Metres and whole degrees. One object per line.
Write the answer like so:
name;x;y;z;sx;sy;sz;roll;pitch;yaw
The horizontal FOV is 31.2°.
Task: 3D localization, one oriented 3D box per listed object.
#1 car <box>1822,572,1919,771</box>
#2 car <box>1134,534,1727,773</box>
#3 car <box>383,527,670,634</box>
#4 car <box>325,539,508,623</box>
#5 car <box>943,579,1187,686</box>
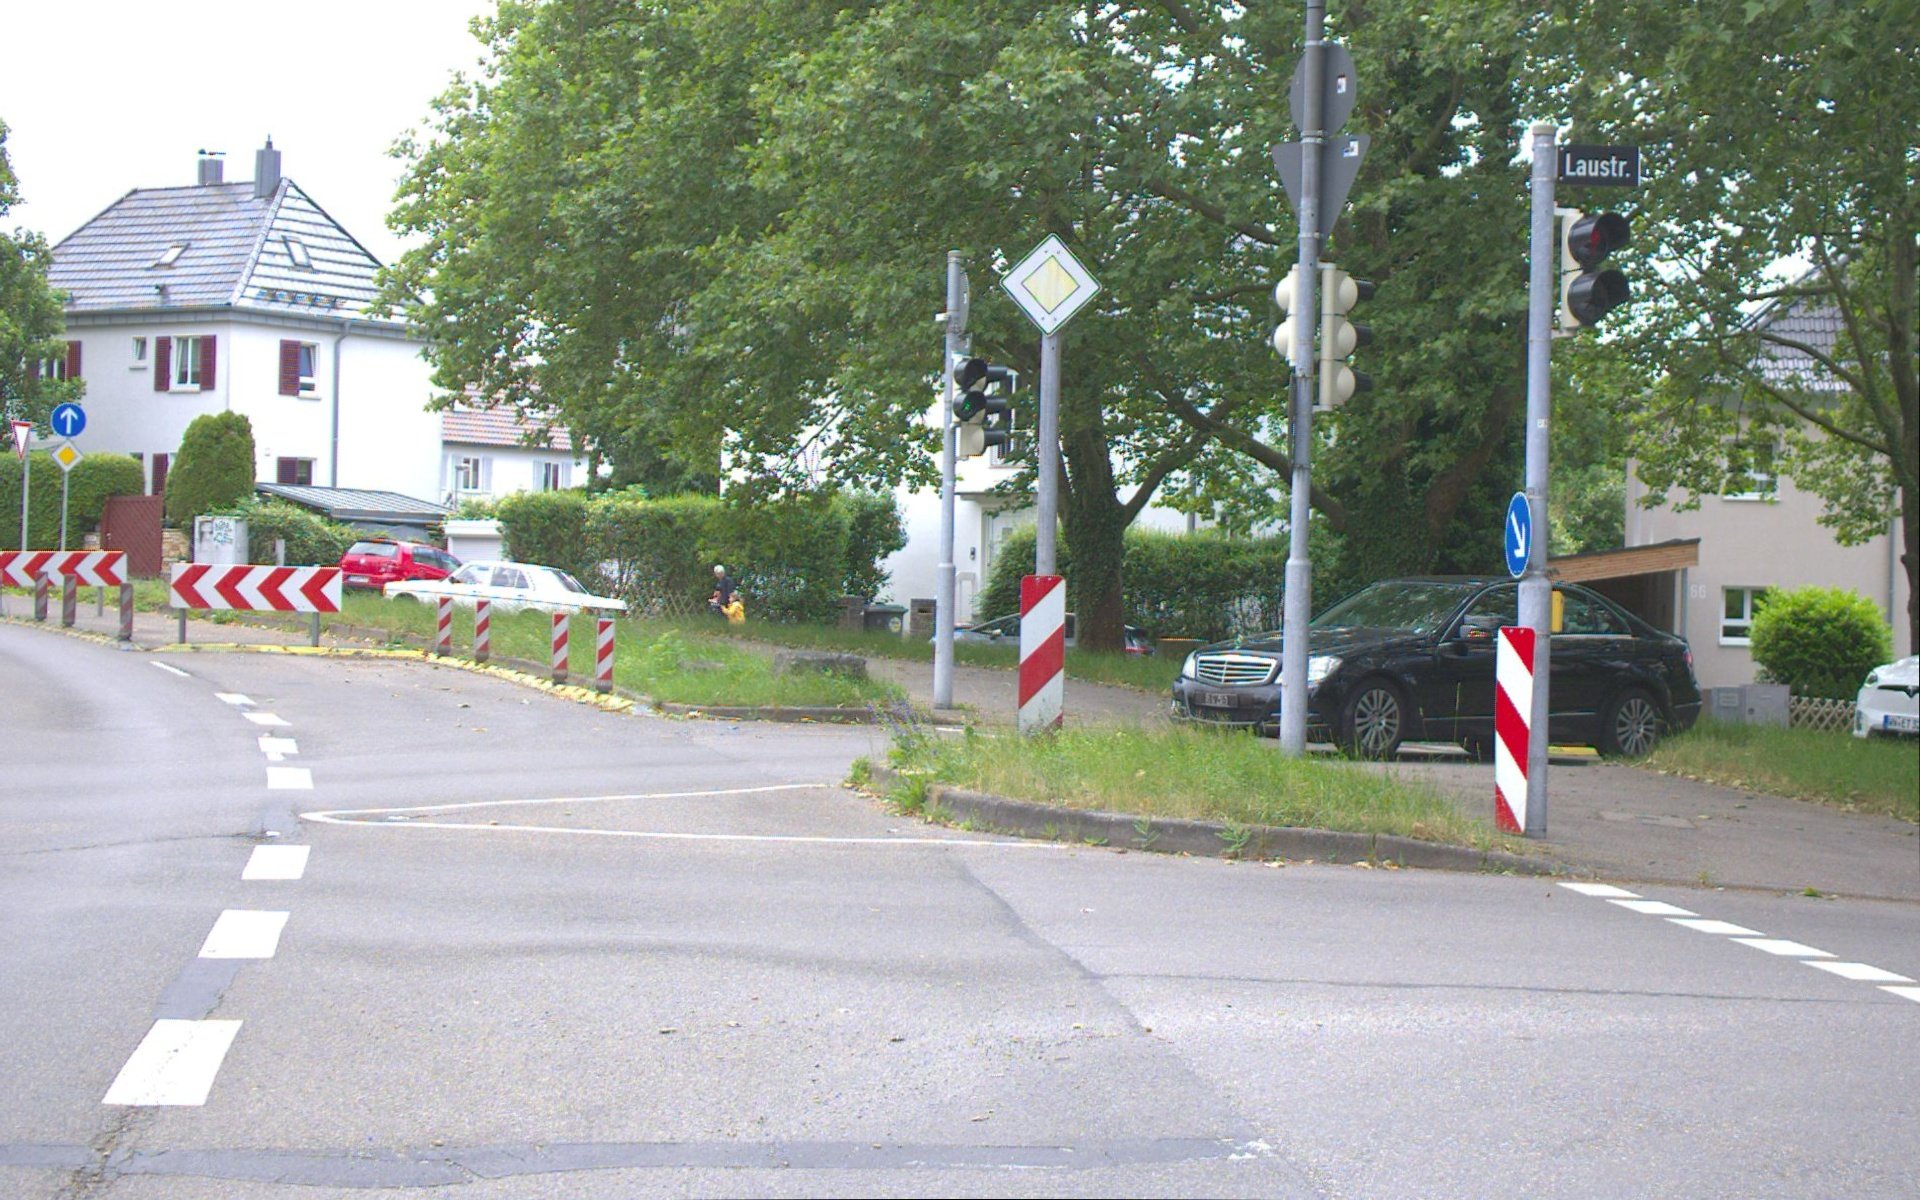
car;10.069;0.667;30.609;4.891;1.652;1.857;1;1;-35
car;3.641;0.427;26.270;4.372;1.512;1.763;4;0;-35
car;-8.177;-0.379;64.875;4.873;1.785;2.214;3;1;24
car;-11.392;-0.383;72.280;1.608;1.512;3.817;4;0;32
car;1.888;0.561;61.194;3.986;1.508;1.661;5;2;13
